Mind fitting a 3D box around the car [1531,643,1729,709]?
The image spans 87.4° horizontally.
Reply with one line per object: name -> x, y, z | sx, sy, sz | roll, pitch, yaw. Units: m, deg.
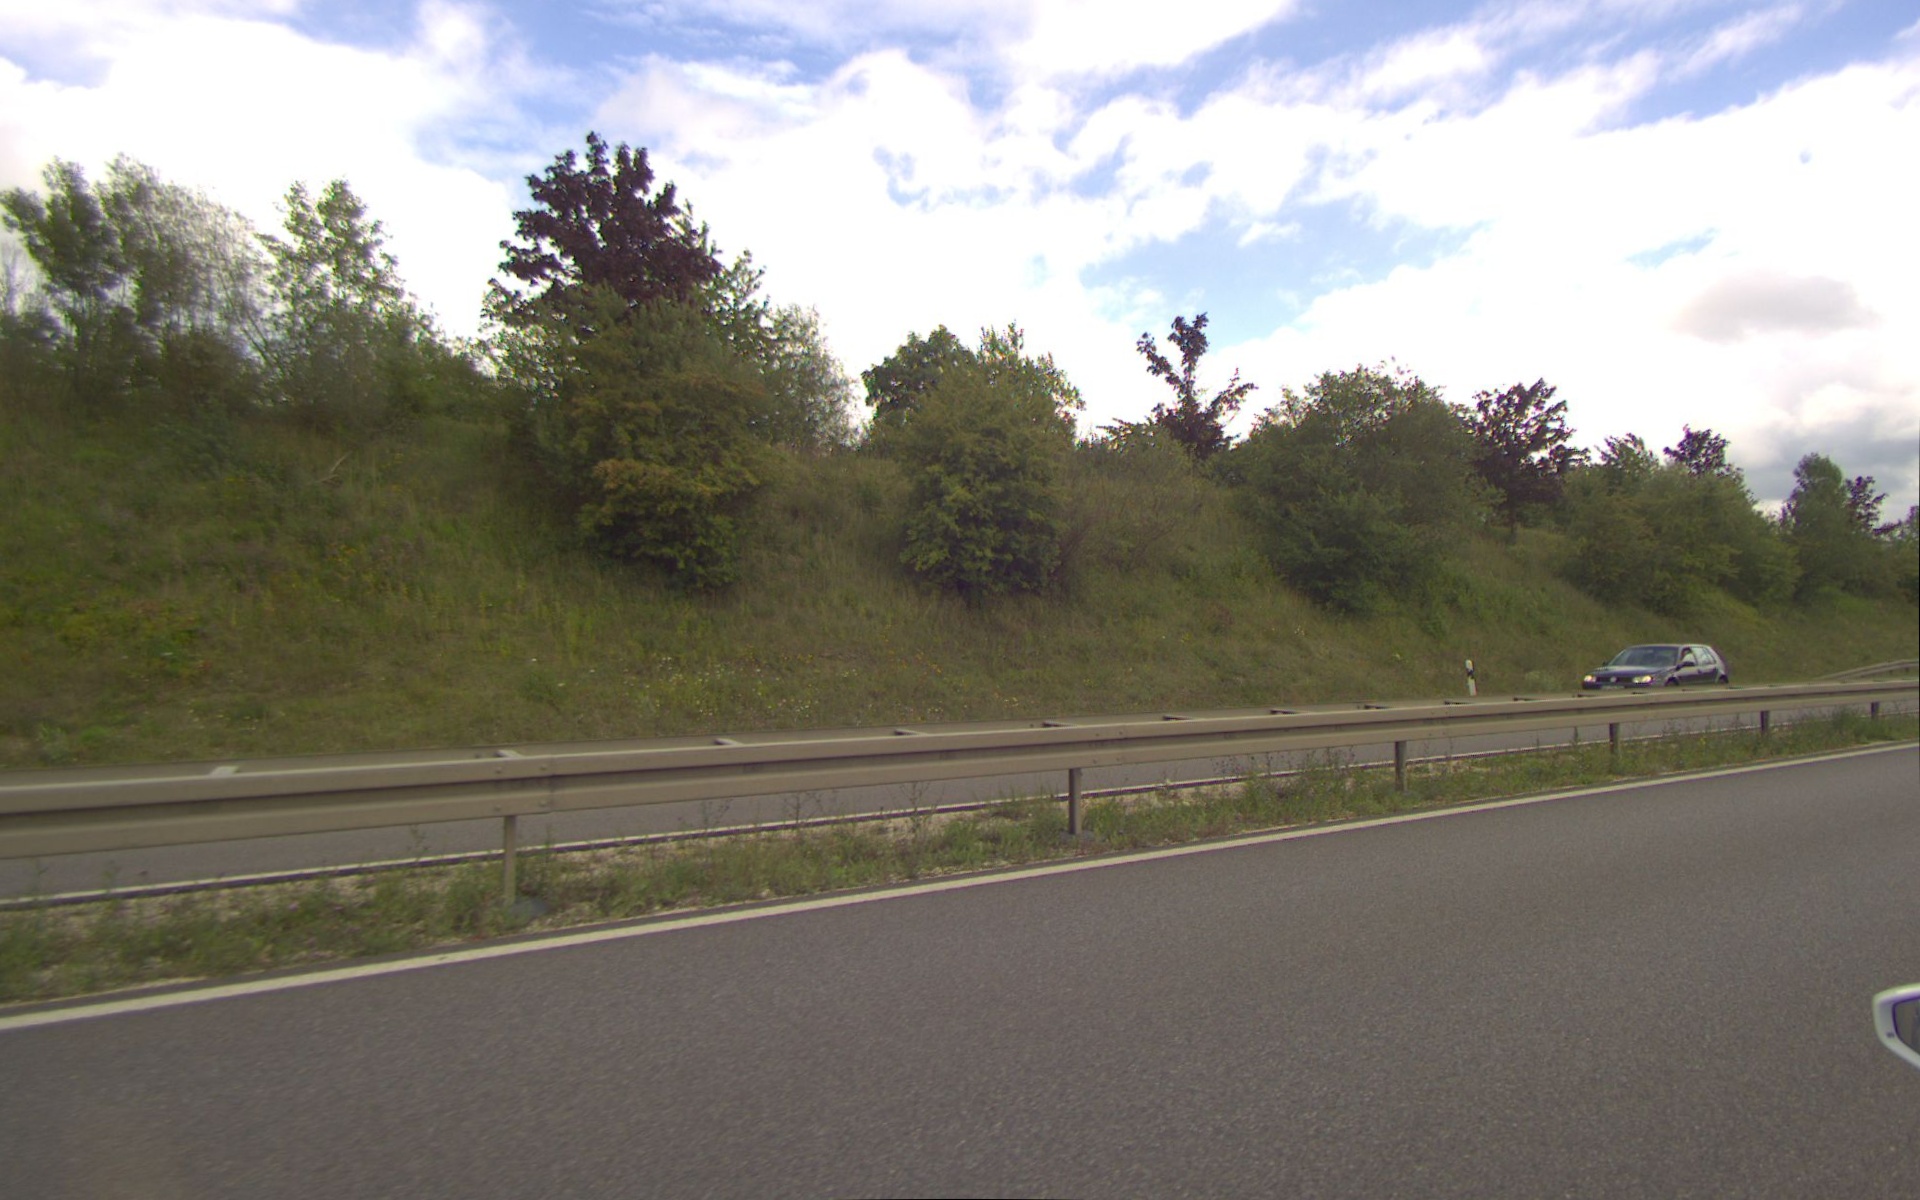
car -> 15.646, 1.708, 23.394 | 4.766, 1.322, 1.984 | 1, -2, -31
